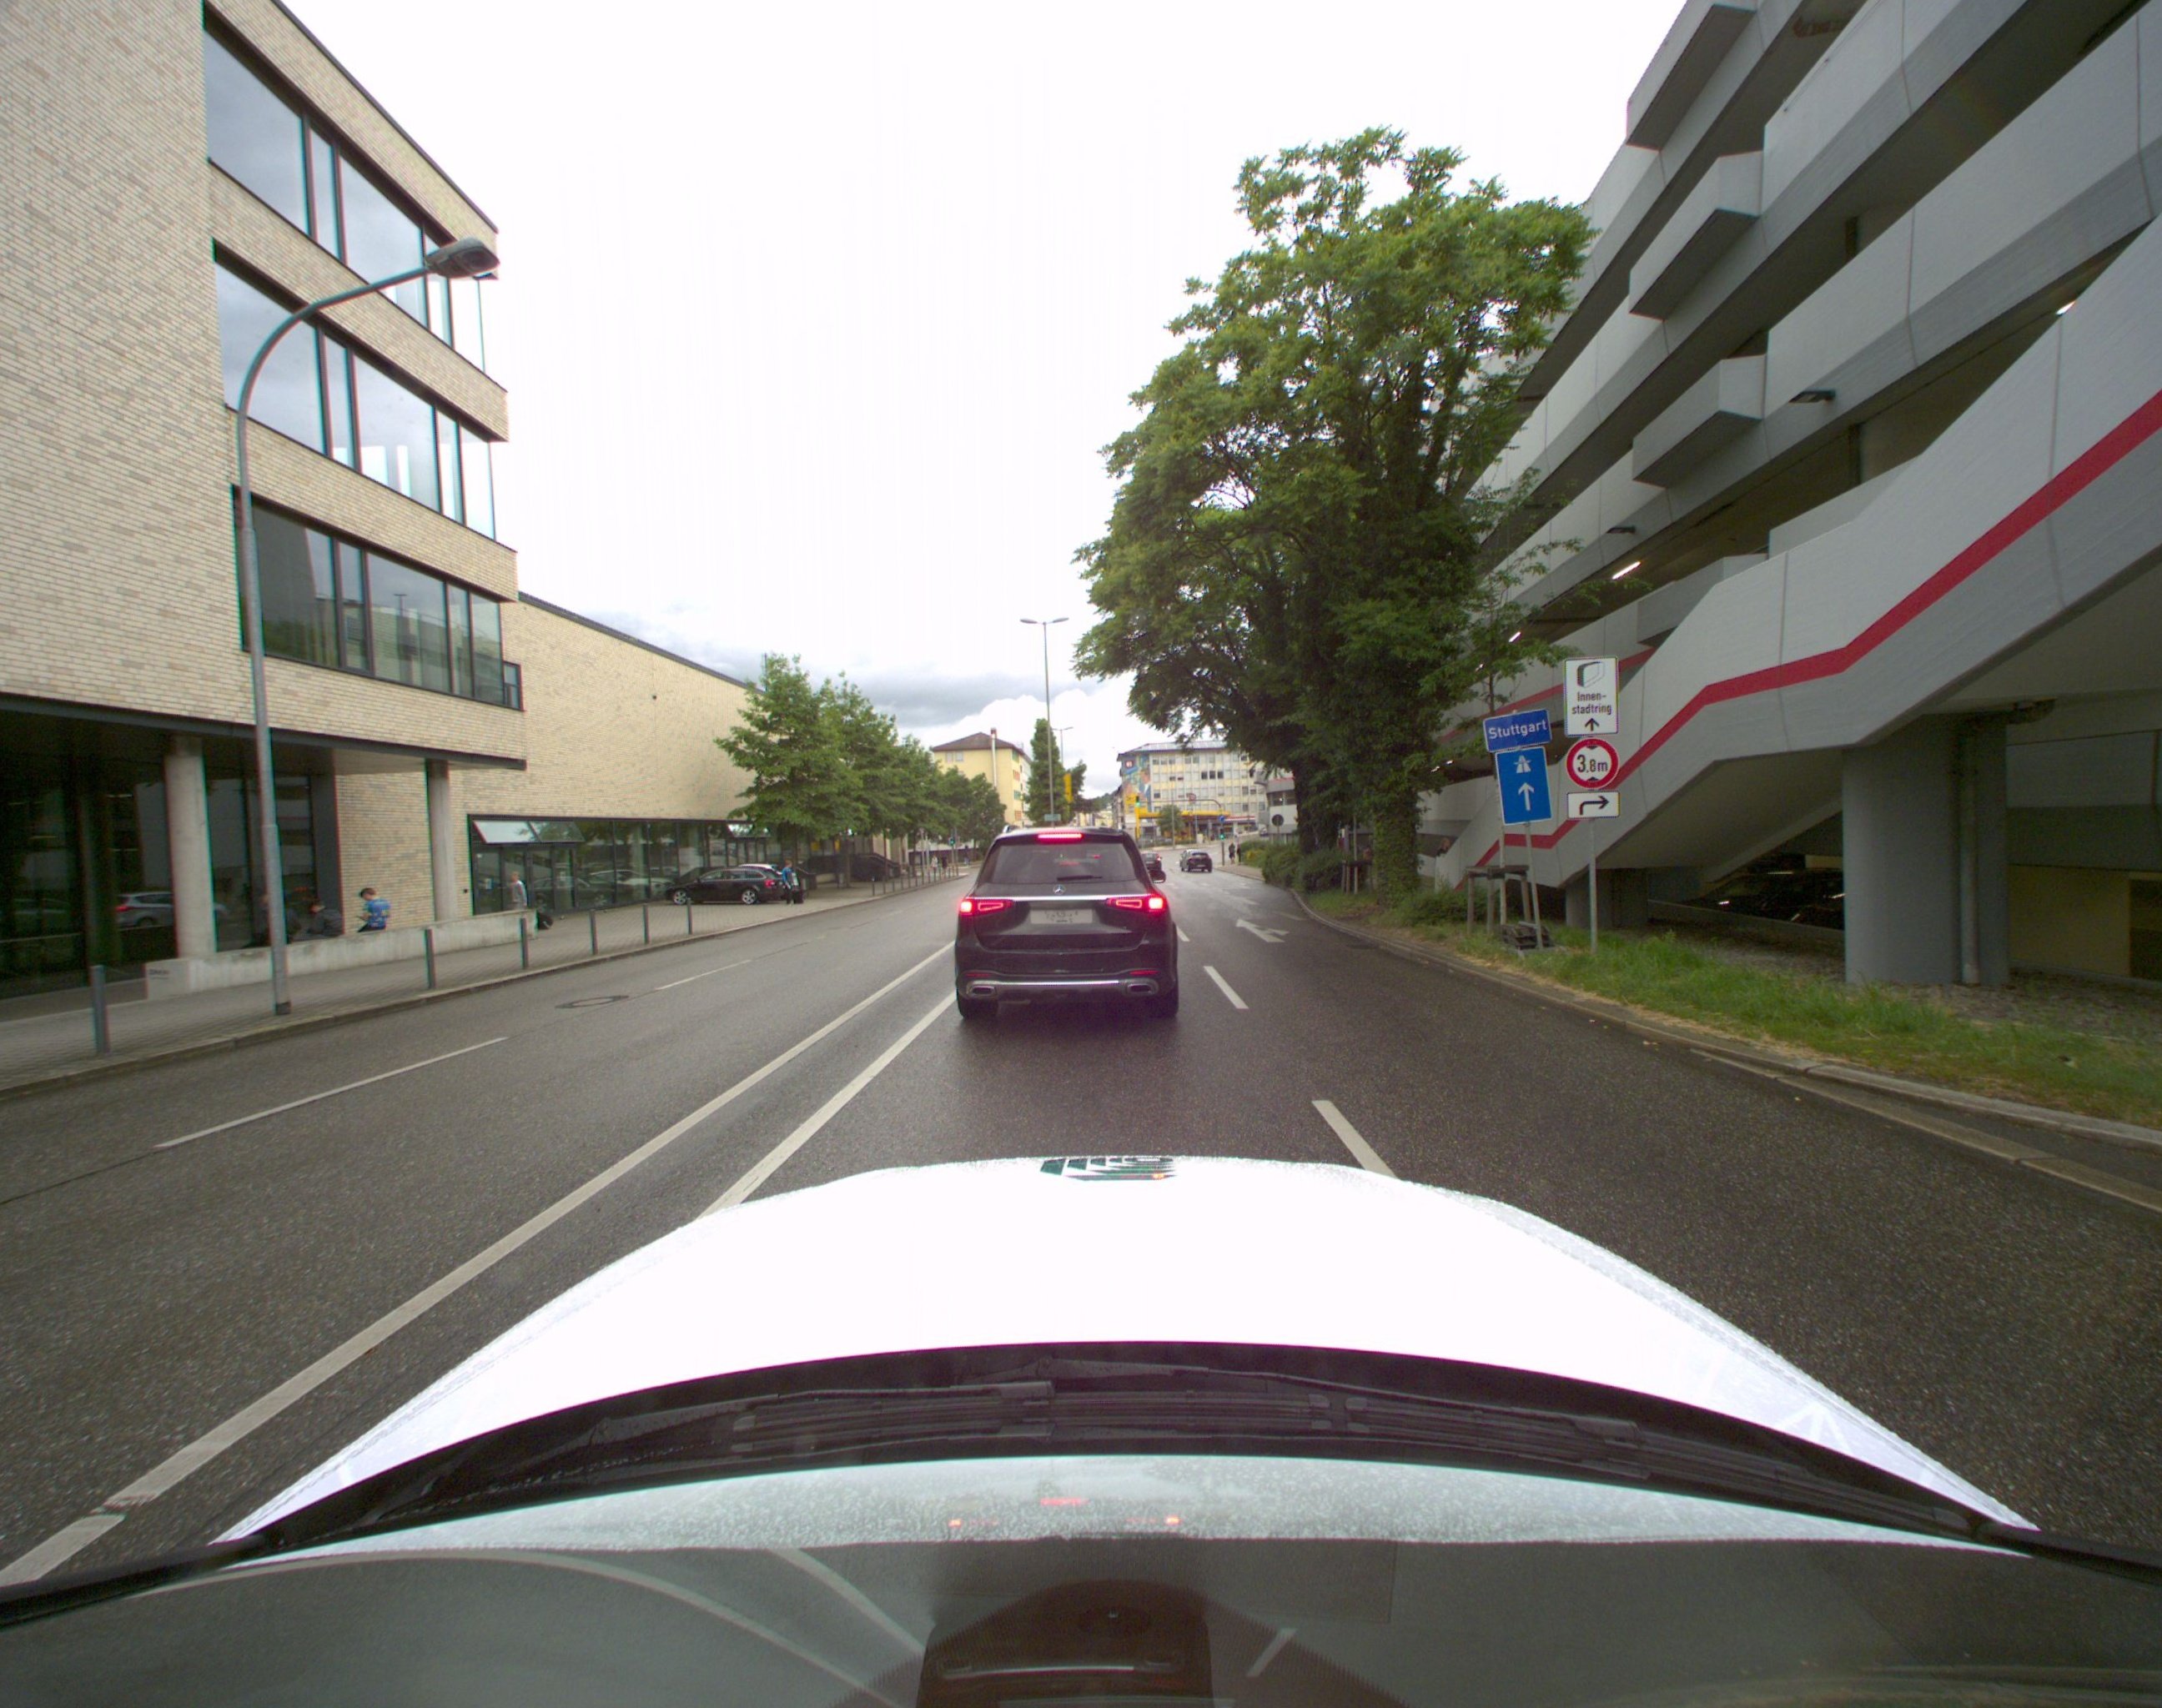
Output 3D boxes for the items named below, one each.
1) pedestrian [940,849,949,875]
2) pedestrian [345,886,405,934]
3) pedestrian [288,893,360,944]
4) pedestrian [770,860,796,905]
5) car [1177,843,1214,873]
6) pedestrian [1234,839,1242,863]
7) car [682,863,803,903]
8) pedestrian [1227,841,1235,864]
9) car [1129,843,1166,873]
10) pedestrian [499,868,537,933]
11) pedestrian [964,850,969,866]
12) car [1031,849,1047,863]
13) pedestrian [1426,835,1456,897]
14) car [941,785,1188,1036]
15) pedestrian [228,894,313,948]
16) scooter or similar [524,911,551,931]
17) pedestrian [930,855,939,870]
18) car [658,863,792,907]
[{"bbox_3d":[-10.898,0.619,65.077,0.586,2.013,0.749,2,1,0],"label":"pedestrian"},{"bbox_3d":[-13.529,1.063,15.619,0.680,0.886,0.523,0,-1,-5],"label":"pedestrian"},{"bbox_3d":[-13.494,1.138,14.528,0.584,0.845,0.727,-1,-1,1],"label":"pedestrian"},{"bbox_3d":[-11.529,1.094,31.525,0.686,1.725,0.754,0,1,0],"label":"pedestrian"},{"bbox_3d":[8.024,0.263,57.351,1.987,2.013,3.999,-2,0,0],"label":"car"},{"bbox_3d":[12.593,-0.204,65.225,0.518,1.911,0.556,0,-1,1],"label":"pedestrian"},{"bbox_3d":[-14.577,1.229,35.279,4.407,1.574,1.998,-1,1,-4],"label":"car"},{"bbox_3d":[12.958,-0.132,70.271,0.617,1.935,0.611,0,-1,7],"label":"pedestrian"},{"bbox_3d":[4.620,0.304,57.153,1.990,2.014,3.993,0,-1,-4],"label":"car"},{"bbox_3d":[-15.052,1.234,21.782,0.673,1.697,0.479,0,-1,0],"label":"pedestrian"},{"bbox_3d":[-12.258,0.433,87.262,0.398,1.644,0.567,0,-1,2],"label":"pedestrian"},{"bbox_3d":[-5.717,0.301,111.257,1.987,1.875,5.141,0,-1,0],"label":"car"},{"bbox_3d":[9.020,0.294,20.418,0.548,1.532,0.489,0,-1,8],"label":"pedestrian"},{"bbox_3d":[-0.113,0.478,8.582,1.987,2.014,4.000,0,-1,0],"label":"car"},{"bbox_3d":[-13.419,1.096,13.497,0.596,0.786,0.760,0,3,1],"label":"pedestrian"},{"bbox_3d":[-14.916,1.837,22.361,0.279,0.501,0.616,0,-1,3],"label":"scooter or similar"},{"bbox_3d":[-13.800,0.819,76.856,0.709,1.462,0.598,0,-1,0],"label":"pedestrian"},{"bbox_3d":[-14.184,1.211,32.696,4.461,1.587,1.997,-1,0,-5],"label":"car"}]
